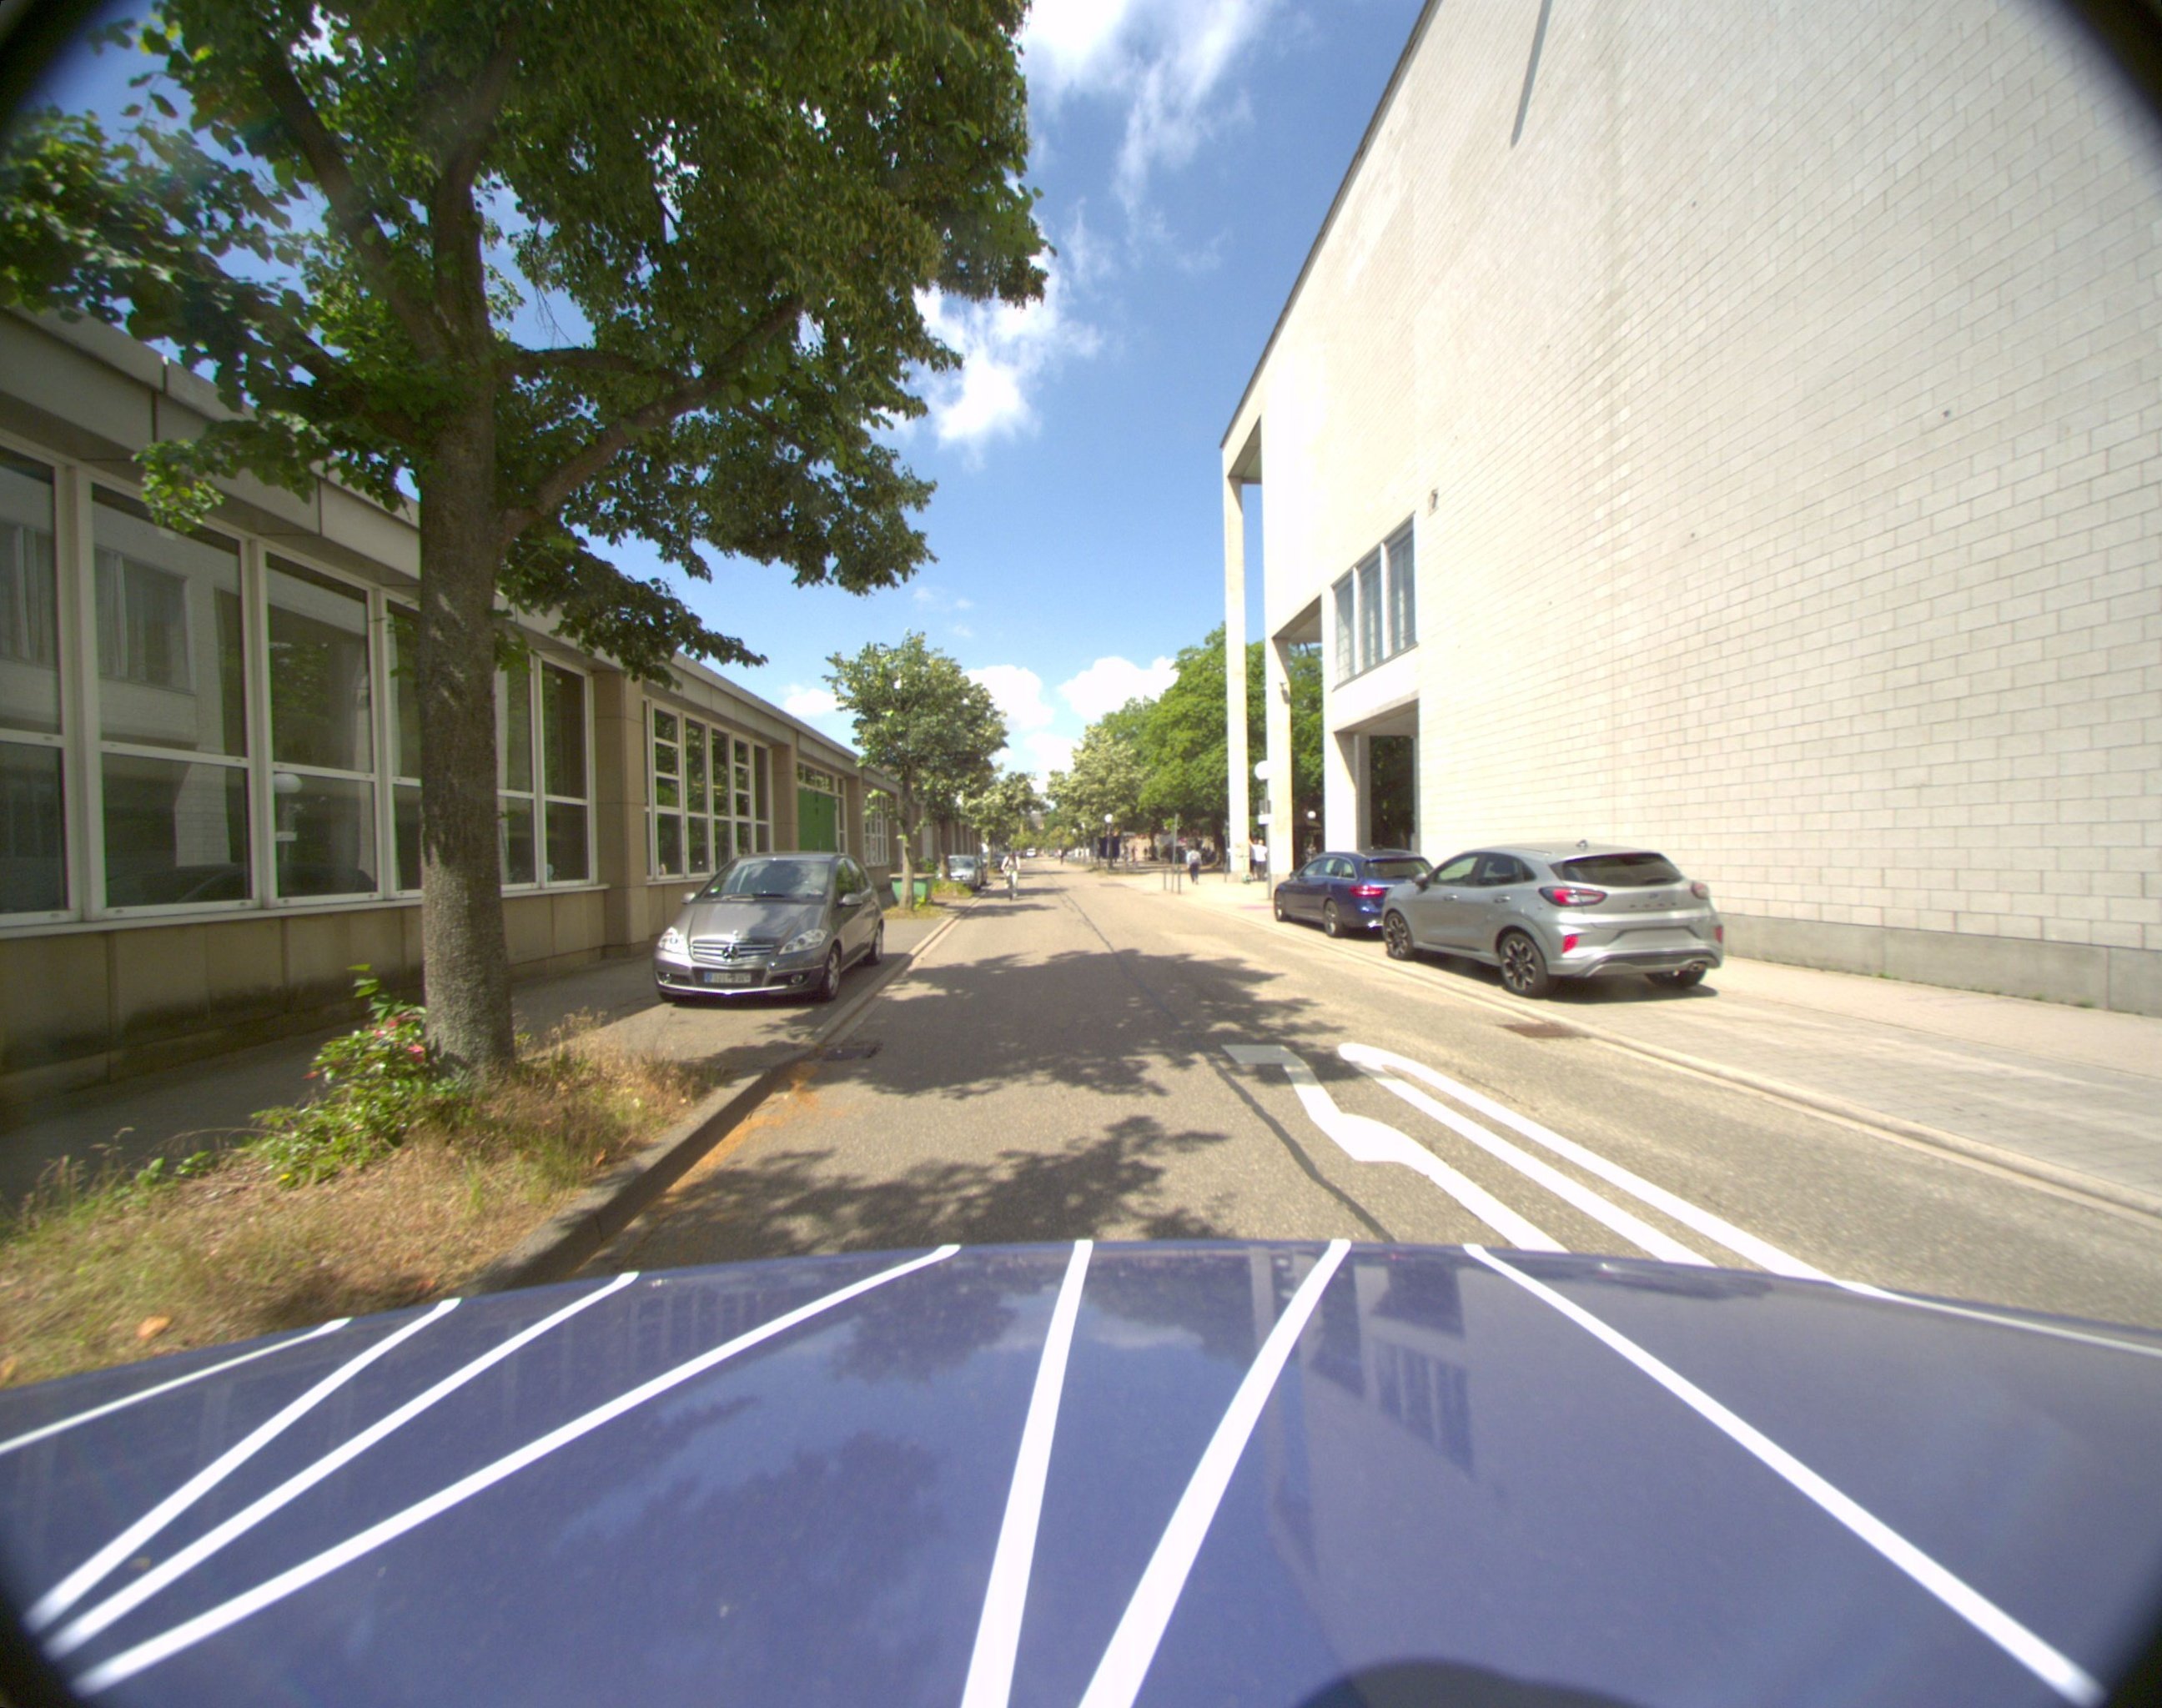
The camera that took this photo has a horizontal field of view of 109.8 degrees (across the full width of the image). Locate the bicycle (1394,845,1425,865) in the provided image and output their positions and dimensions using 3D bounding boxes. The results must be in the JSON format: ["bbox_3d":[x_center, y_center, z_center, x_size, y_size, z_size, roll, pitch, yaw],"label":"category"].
[{"bbox_3d":[18.077,0.028,41.903,0.622,1.052,2.173,-2,1,-4],"label":"bicycle"}]

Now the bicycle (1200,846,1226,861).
[{"bbox_3d":[10.877,-0.008,62.428,2.128,1.151,0.751,-3,2,-33],"label":"bicycle"}]

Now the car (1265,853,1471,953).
[{"bbox_3d":[4.912,0.735,13.814,1.731,1.414,4.663,-2,1,-3],"label":"car"}]

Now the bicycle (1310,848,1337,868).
[{"bbox_3d":[13.353,0.199,41.891,0.622,1.052,2.123,-2,1,-4],"label":"bicycle"}]

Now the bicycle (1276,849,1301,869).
[{"bbox_3d":[11.358,0.270,41.710,0.622,1.052,2.123,-2,1,-4],"label":"bicycle"}]

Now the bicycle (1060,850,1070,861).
[{"bbox_3d":[-1.844,0.200,88.413,1.011,1.169,3.392,-2,1,-3],"label":"bicycle"}]

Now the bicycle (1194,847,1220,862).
[{"bbox_3d":[10.466,0.046,63.066,2.128,1.100,0.681,-3,2,-33],"label":"bicycle"}]

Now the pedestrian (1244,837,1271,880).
[{"bbox_3d":[7.503,0.202,32.310,0.755,1.770,1.080,-2,1,-4],"label":"pedestrian"}]

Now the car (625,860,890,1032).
[{"bbox_3d":[-3.542,0.880,9.130,1.761,1.559,3.815,0,1,-4],"label":"car"}]

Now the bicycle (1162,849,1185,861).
[{"bbox_3d":[8.205,0.086,67.182,2.128,1.052,0.621,-3,2,-33],"label":"bicycle"}]

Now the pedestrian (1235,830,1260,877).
[{"bbox_3d":[7.338,-0.039,33.512,0.755,2.002,1.080,-2,1,-4],"label":"pedestrian"}]

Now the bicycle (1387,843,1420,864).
[{"bbox_3d":[18.854,-0.032,44.498,0.623,1.185,2.172,-2,1,-12],"label":"bicycle"}]

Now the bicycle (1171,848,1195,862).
[{"bbox_3d":[8.848,0.083,65.956,2.128,1.052,0.681,-3,1,-33],"label":"bicycle"}]

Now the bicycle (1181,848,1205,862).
[{"bbox_3d":[9.504,0.082,64.529,2.128,1.052,0.681,-3,1,-33],"label":"bicycle"}]

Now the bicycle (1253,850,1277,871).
[{"bbox_3d":[10.047,0.332,41.593,0.622,1.052,2.123,-2,1,-4],"label":"bicycle"}]

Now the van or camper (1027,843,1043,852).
[{"bbox_3d":[-11.371,-1.609,188.487,1.995,2.348,4.390,-1,1,24],"label":"van or camper"}]

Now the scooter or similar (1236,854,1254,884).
[{"bbox_3d":[6.634,0.600,30.806,0.318,1.138,1.312,-2,1,-4],"label":"scooter or similar"}]

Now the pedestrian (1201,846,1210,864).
[{"bbox_3d":[12.040,0.114,73.414,0.756,1.661,0.823,-2,1,11],"label":"pedestrian"}]

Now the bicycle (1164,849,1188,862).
[{"bbox_3d":[8.310,0.111,66.434,2.128,1.052,0.621,-3,2,-33],"label":"bicycle"}]

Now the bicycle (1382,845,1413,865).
[{"bbox_3d":[17.411,0.053,41.852,0.622,1.052,2.173,-2,1,-4],"label":"bicycle"}]

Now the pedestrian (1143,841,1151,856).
[{"bbox_3d":[8.281,-0.667,95.321,0.677,1.882,0.816,-1,2,36],"label":"pedestrian"}]

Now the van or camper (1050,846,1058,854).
[{"bbox_3d":[-8.241,-1.217,231.222,1.853,2.093,4.305,-2,1,6],"label":"van or camper"}]

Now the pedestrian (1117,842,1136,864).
[{"bbox_3d":[3.905,-0.105,65.481,1.400,1.814,1.369,-2,1,-4],"label":"pedestrian"}]

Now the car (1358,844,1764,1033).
[{"bbox_3d":[5.044,0.713,8.881,1.731,1.526,4.403,-3,1,-3],"label":"car"}]

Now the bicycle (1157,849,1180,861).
[{"bbox_3d":[7.829,0.091,67.764,2.128,1.052,0.621,-3,2,-33],"label":"bicycle"}]

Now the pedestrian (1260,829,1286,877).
[{"bbox_3d":[8.265,-0.060,32.727,0.755,2.002,1.080,-2,1,-4],"label":"pedestrian"}]

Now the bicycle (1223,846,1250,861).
[{"bbox_3d":[12.282,-0.047,60.044,2.128,1.100,0.751,-3,1,-33],"label":"bicycle"}]

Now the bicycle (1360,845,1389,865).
[{"bbox_3d":[16.093,0.034,41.737,0.622,1.052,2.173,-2,1,-4],"label":"bicycle"}]

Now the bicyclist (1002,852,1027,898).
[{"bbox_3d":[-2.233,0.696,25.426,0.781,1.478,0.695,-1,1,-5],"label":"bicyclist"}]

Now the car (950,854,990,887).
[{"bbox_3d":[-5.306,0.776,36.769,1.622,1.455,3.815,1,0,-4],"label":"car"}]

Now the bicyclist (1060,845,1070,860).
[{"bbox_3d":[-1.860,-0.229,88.274,1.053,1.690,1.281,-2,1,-3],"label":"bicyclist"}]

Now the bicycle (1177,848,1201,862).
[{"bbox_3d":[9.280,0.086,65.364,2.128,1.052,0.681,-3,1,-33],"label":"bicycle"}]

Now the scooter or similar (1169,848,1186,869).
[{"bbox_3d":[5.906,0.278,46.627,0.713,1.185,1.617,-1,2,18],"label":"scooter or similar"}]

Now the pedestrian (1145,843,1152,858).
[{"bbox_3d":[7.382,-0.359,83.214,0.678,1.661,0.815,-2,1,2],"label":"pedestrian"}]

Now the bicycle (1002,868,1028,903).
[{"bbox_3d":[-2.219,1.034,25.413,0.781,1.042,1.912,-1,1,-6],"label":"bicycle"}]

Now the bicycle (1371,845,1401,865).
[{"bbox_3d":[16.757,0.060,41.802,0.622,1.052,2.173,-2,1,-4],"label":"bicycle"}]

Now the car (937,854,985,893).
[{"bbox_3d":[-4.896,0.760,31.371,1.622,1.503,3.815,1,0,-4],"label":"car"}]

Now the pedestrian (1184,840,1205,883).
[{"bbox_3d":[4.806,0.314,32.211,0.760,1.716,1.235,-4,2,7],"label":"pedestrian"}]

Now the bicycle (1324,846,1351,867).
[{"bbox_3d":[14.043,0.128,41.671,0.622,1.052,2.123,-2,1,-4],"label":"bicycle"}]

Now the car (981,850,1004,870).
[{"bbox_3d":[-6.909,0.469,59.781,1.649,1.484,3.814,0,1,-4],"label":"car"}]

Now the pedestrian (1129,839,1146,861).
[{"bbox_3d":[5.350,-0.390,71.796,1.400,2.002,1.369,-2,1,-4],"label":"pedestrian"}]

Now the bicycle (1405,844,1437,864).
[{"bbox_3d":[18.750,0.002,41.959,0.622,1.052,2.173,-2,1,-4],"label":"bicycle"}]

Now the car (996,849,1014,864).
[{"bbox_3d":[-7.573,0.239,75.846,1.649,1.484,3.814,0,1,-4],"label":"car"}]

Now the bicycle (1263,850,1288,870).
[{"bbox_3d":[10.645,0.304,41.633,0.622,1.052,2.123,-2,1,-4],"label":"bicycle"}]

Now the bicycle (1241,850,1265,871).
[{"bbox_3d":[9.393,0.349,41.548,0.622,1.052,2.123,-2,1,-4],"label":"bicycle"}]

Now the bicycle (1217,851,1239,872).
[{"bbox_3d":[7.971,0.380,41.354,0.508,1.100,2.000,-2,1,-8],"label":"bicycle"}]
